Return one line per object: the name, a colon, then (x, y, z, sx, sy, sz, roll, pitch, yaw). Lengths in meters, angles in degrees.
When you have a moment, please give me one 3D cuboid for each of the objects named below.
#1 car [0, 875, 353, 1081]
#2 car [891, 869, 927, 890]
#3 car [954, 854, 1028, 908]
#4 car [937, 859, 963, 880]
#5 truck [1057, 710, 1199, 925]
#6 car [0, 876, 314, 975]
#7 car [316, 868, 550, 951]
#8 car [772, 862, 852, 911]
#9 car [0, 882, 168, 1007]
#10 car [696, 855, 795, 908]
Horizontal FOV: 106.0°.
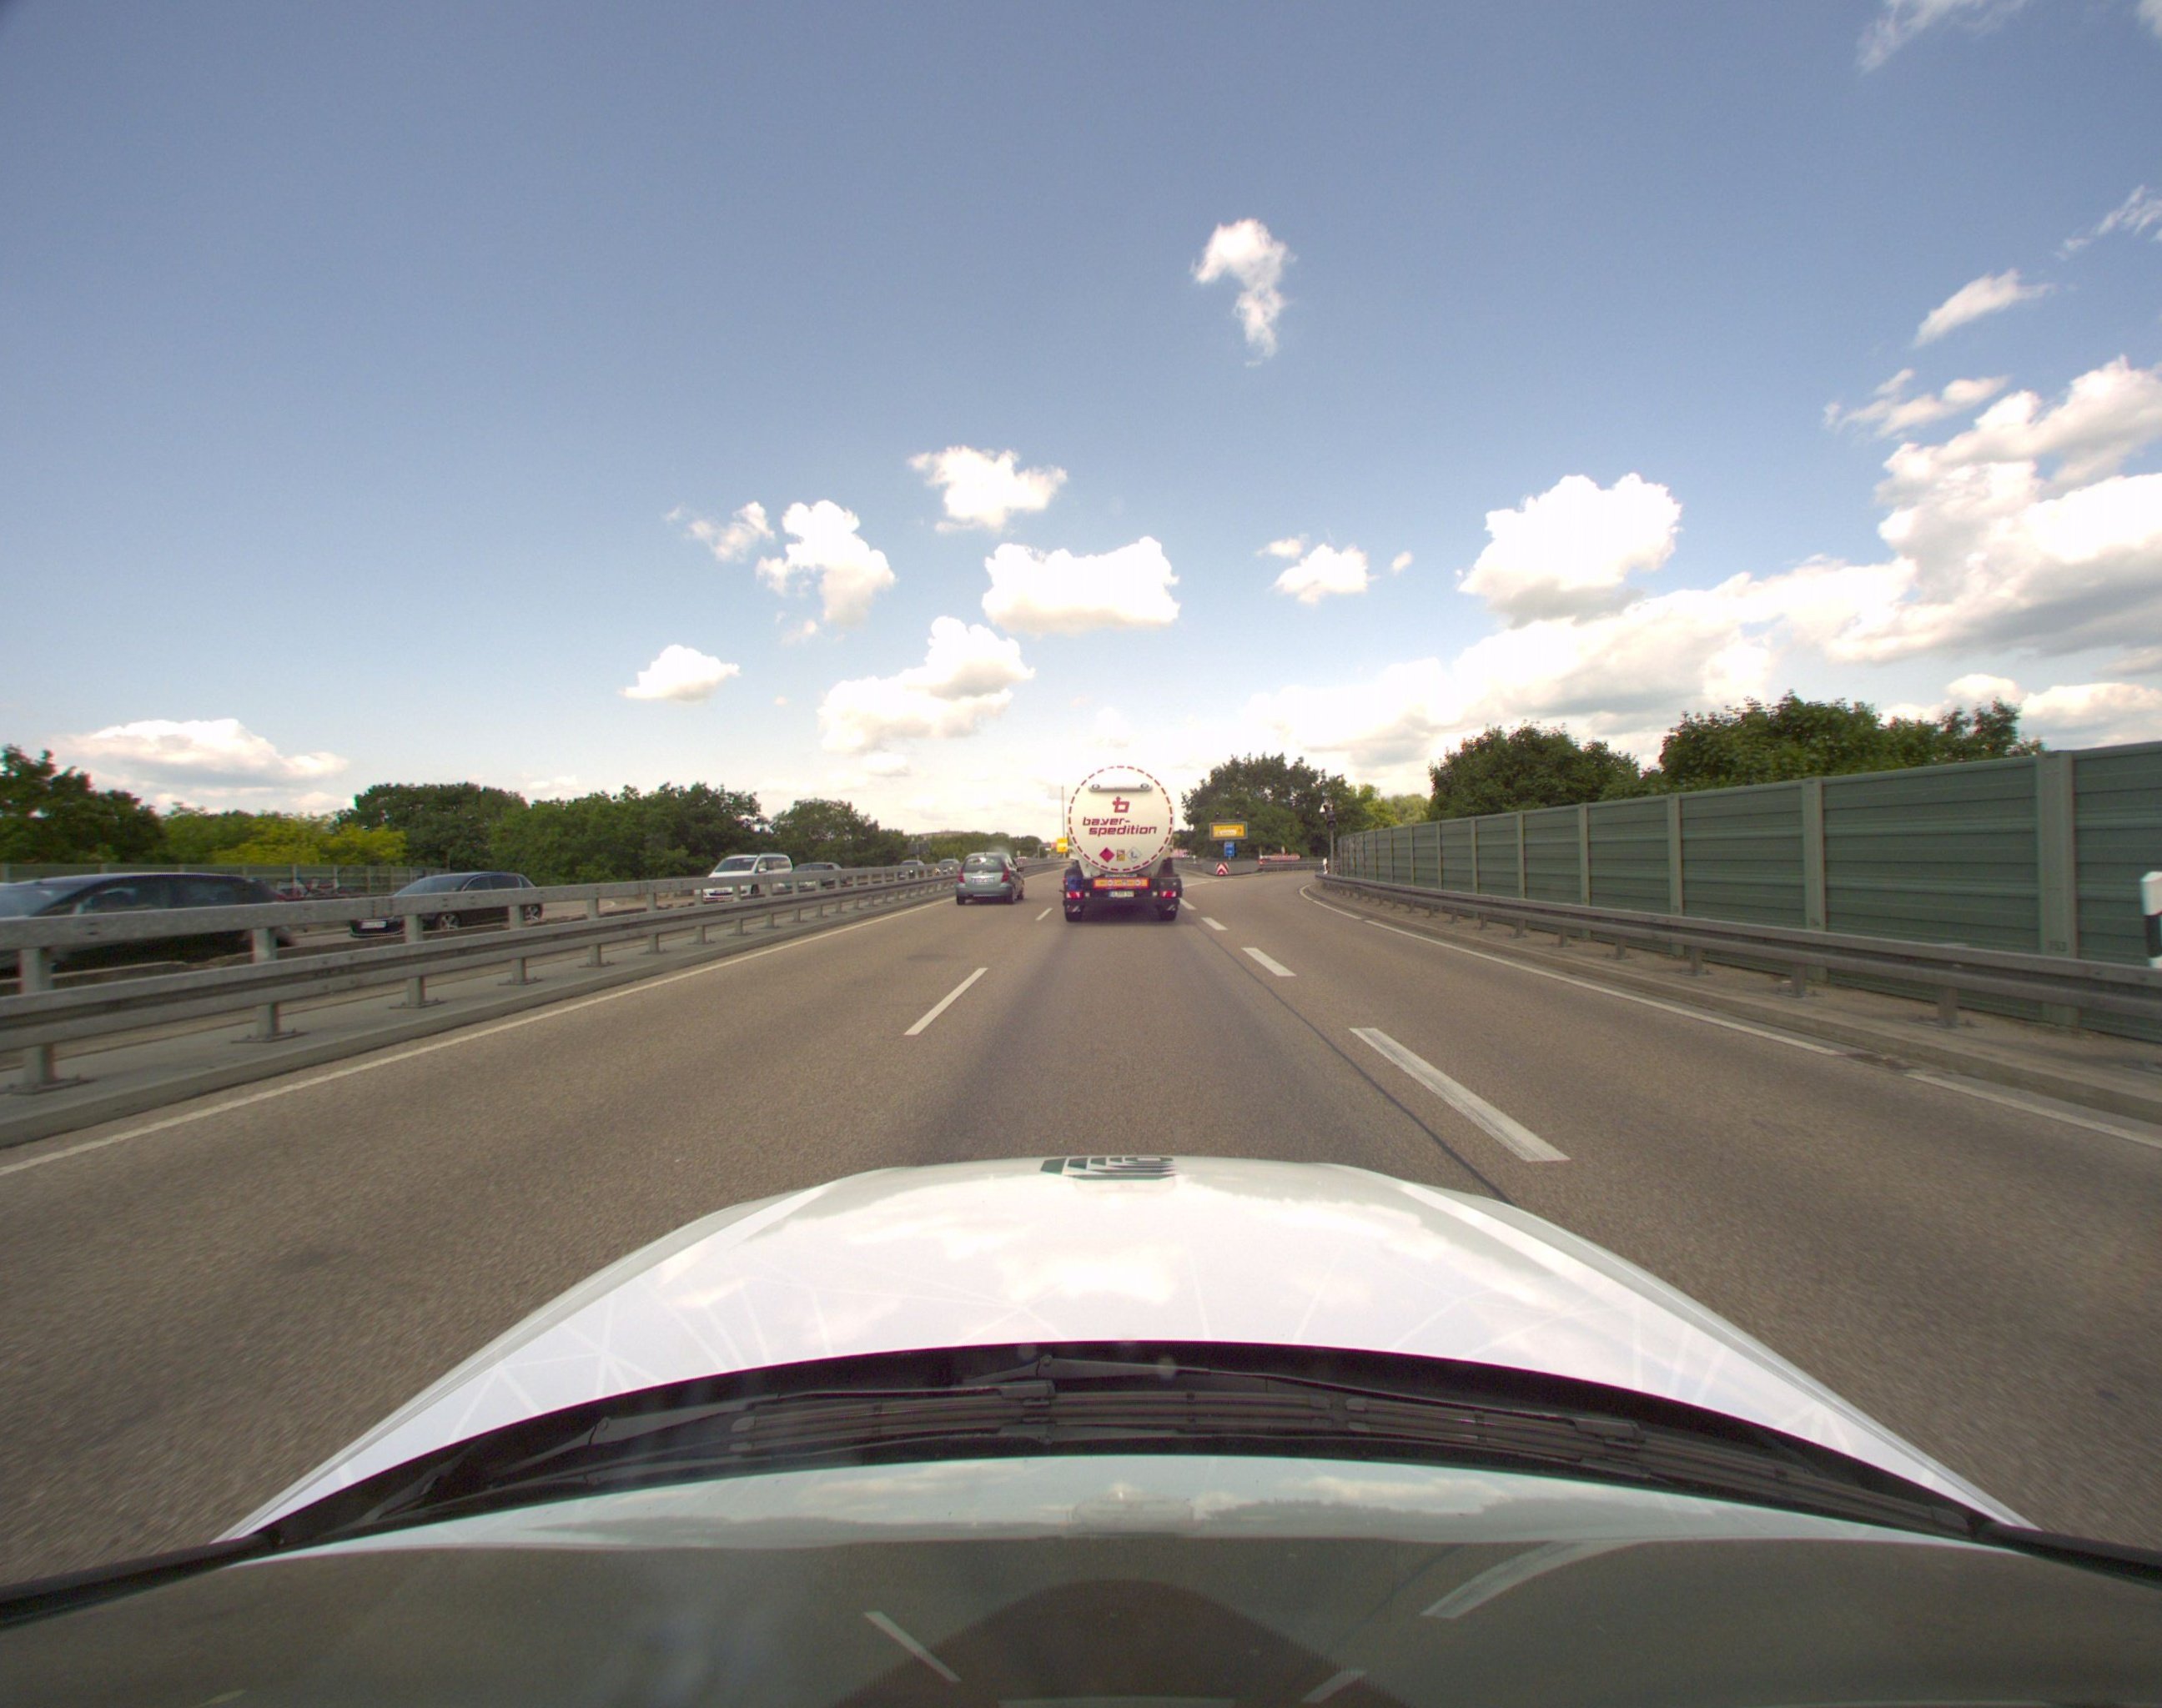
car: (-10.999, 1.203, 8.966, 1.985, 1.857, 4.243, 0, 0, 3)
car: (-12.675, 1.845, 60.236, 1.778, 1.389, 4.047, 0, 1, 0)
car: (-2.792, 0.799, 26.096, 1.741, 1.531, 4.002, -1, 0, 2)
car: (-12.029, 1.400, 74.916, 1.576, 1.711, 4.411, 0, 1, 0)
truck: (1.068, -0.732, 20.663, 2.884, 4.369, 8.032, 0, 0, 2)
car: (-18.308, 1.300, 16.235, 1.917, 1.574, 4.283, -1, 0, 1)
car: (-14.723, 1.179, 18.881, 1.917, 1.574, 4.245, -3, 0, 1)
car: (-10.031, 1.175, 30.618, 1.721, 1.622, 3.741, 0, 1, 0)
car: (-15.131, 1.217, 10.654, 1.917, 1.574, 3.887, 0, 0, 1)
car: (-13.718, 1.046, 33.675, 1.954, 1.925, 5.191, 0, 1, 0)
